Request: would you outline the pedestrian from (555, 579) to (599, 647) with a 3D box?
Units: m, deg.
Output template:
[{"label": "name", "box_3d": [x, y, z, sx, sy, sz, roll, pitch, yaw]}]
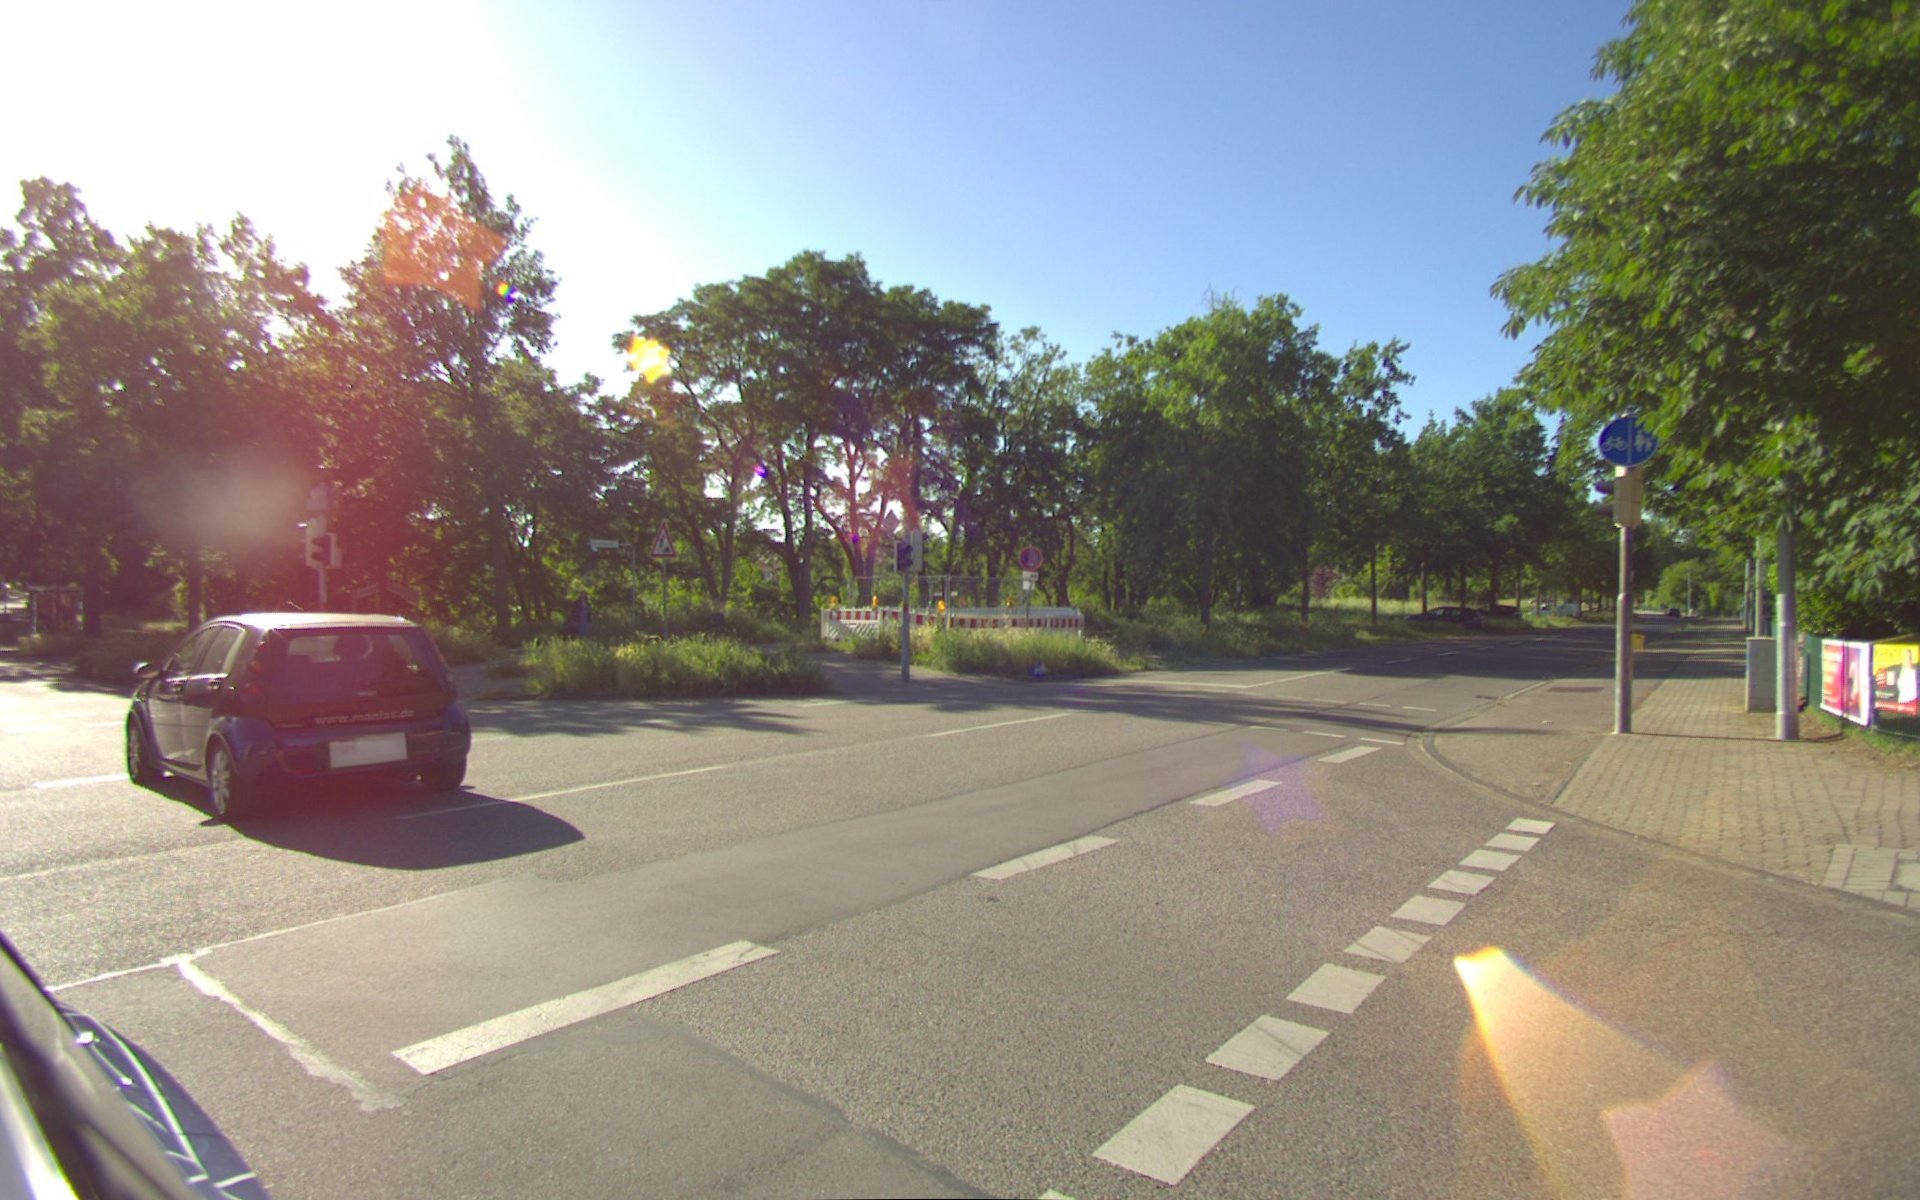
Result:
[{"label": "pedestrian", "box_3d": [-9.635, 0.317, 25.440, 0.647, 1.645, 0.790, -1, 1, 42]}]

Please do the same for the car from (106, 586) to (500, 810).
[{"label": "car", "box_3d": [-5.672, 0.650, 8.563, 3.848, 1.466, 1.787, 0, -1, 41]}]

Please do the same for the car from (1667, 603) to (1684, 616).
[{"label": "car", "box_3d": [113.844, 1.507, 161.104, 1.994, 2.028, 3.956, -1, 1, 33]}]

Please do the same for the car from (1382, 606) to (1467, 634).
[{"label": "car", "box_3d": [25.652, 1.109, 55.998, 3.997, 1.432, 1.620, -1, 1, 40]}]

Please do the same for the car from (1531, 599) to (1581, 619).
[{"label": "car", "box_3d": [58.720, 0.886, 99.684, 3.994, 1.940, 1.975, -1, 1, 38]}]
